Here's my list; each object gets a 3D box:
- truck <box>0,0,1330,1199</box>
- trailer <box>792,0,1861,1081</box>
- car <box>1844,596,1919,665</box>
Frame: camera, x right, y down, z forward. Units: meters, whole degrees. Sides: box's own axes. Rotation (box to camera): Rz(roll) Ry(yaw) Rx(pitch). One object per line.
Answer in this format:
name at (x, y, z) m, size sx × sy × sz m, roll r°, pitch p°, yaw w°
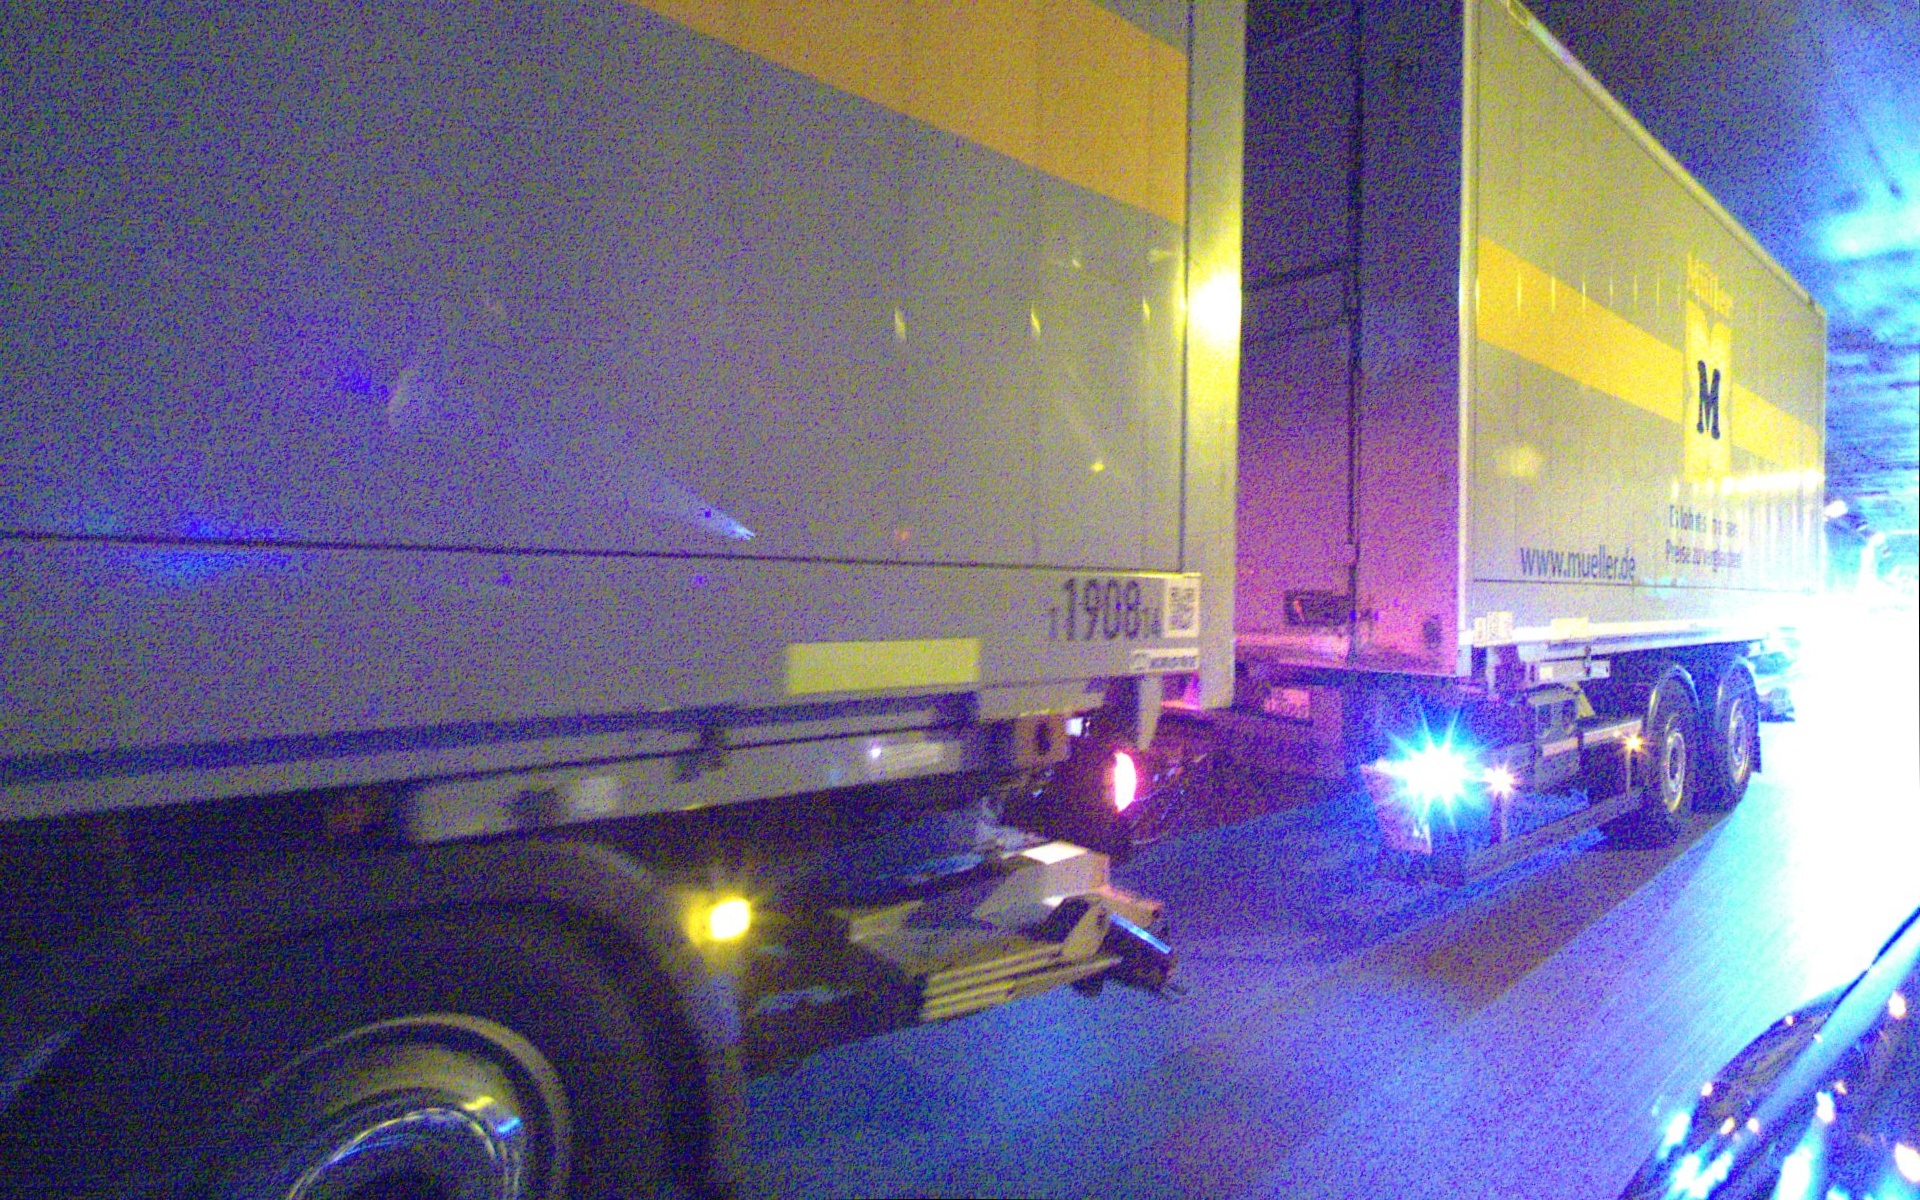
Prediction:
truck at (-3.617, -0.623, 0.777) m, size 9.733 × 3.962 × 2.895 m, roll 0°, pitch 1°, yaw -40°
trailer at (3.424, -0.619, 6.862) m, size 8.791 × 3.907 × 2.881 m, roll 0°, pitch 1°, yaw -41°
car at (21.353, 0.638, 22.791) m, size 3.733 × 1.421 × 1.733 m, roll -1°, pitch 0°, yaw -42°
